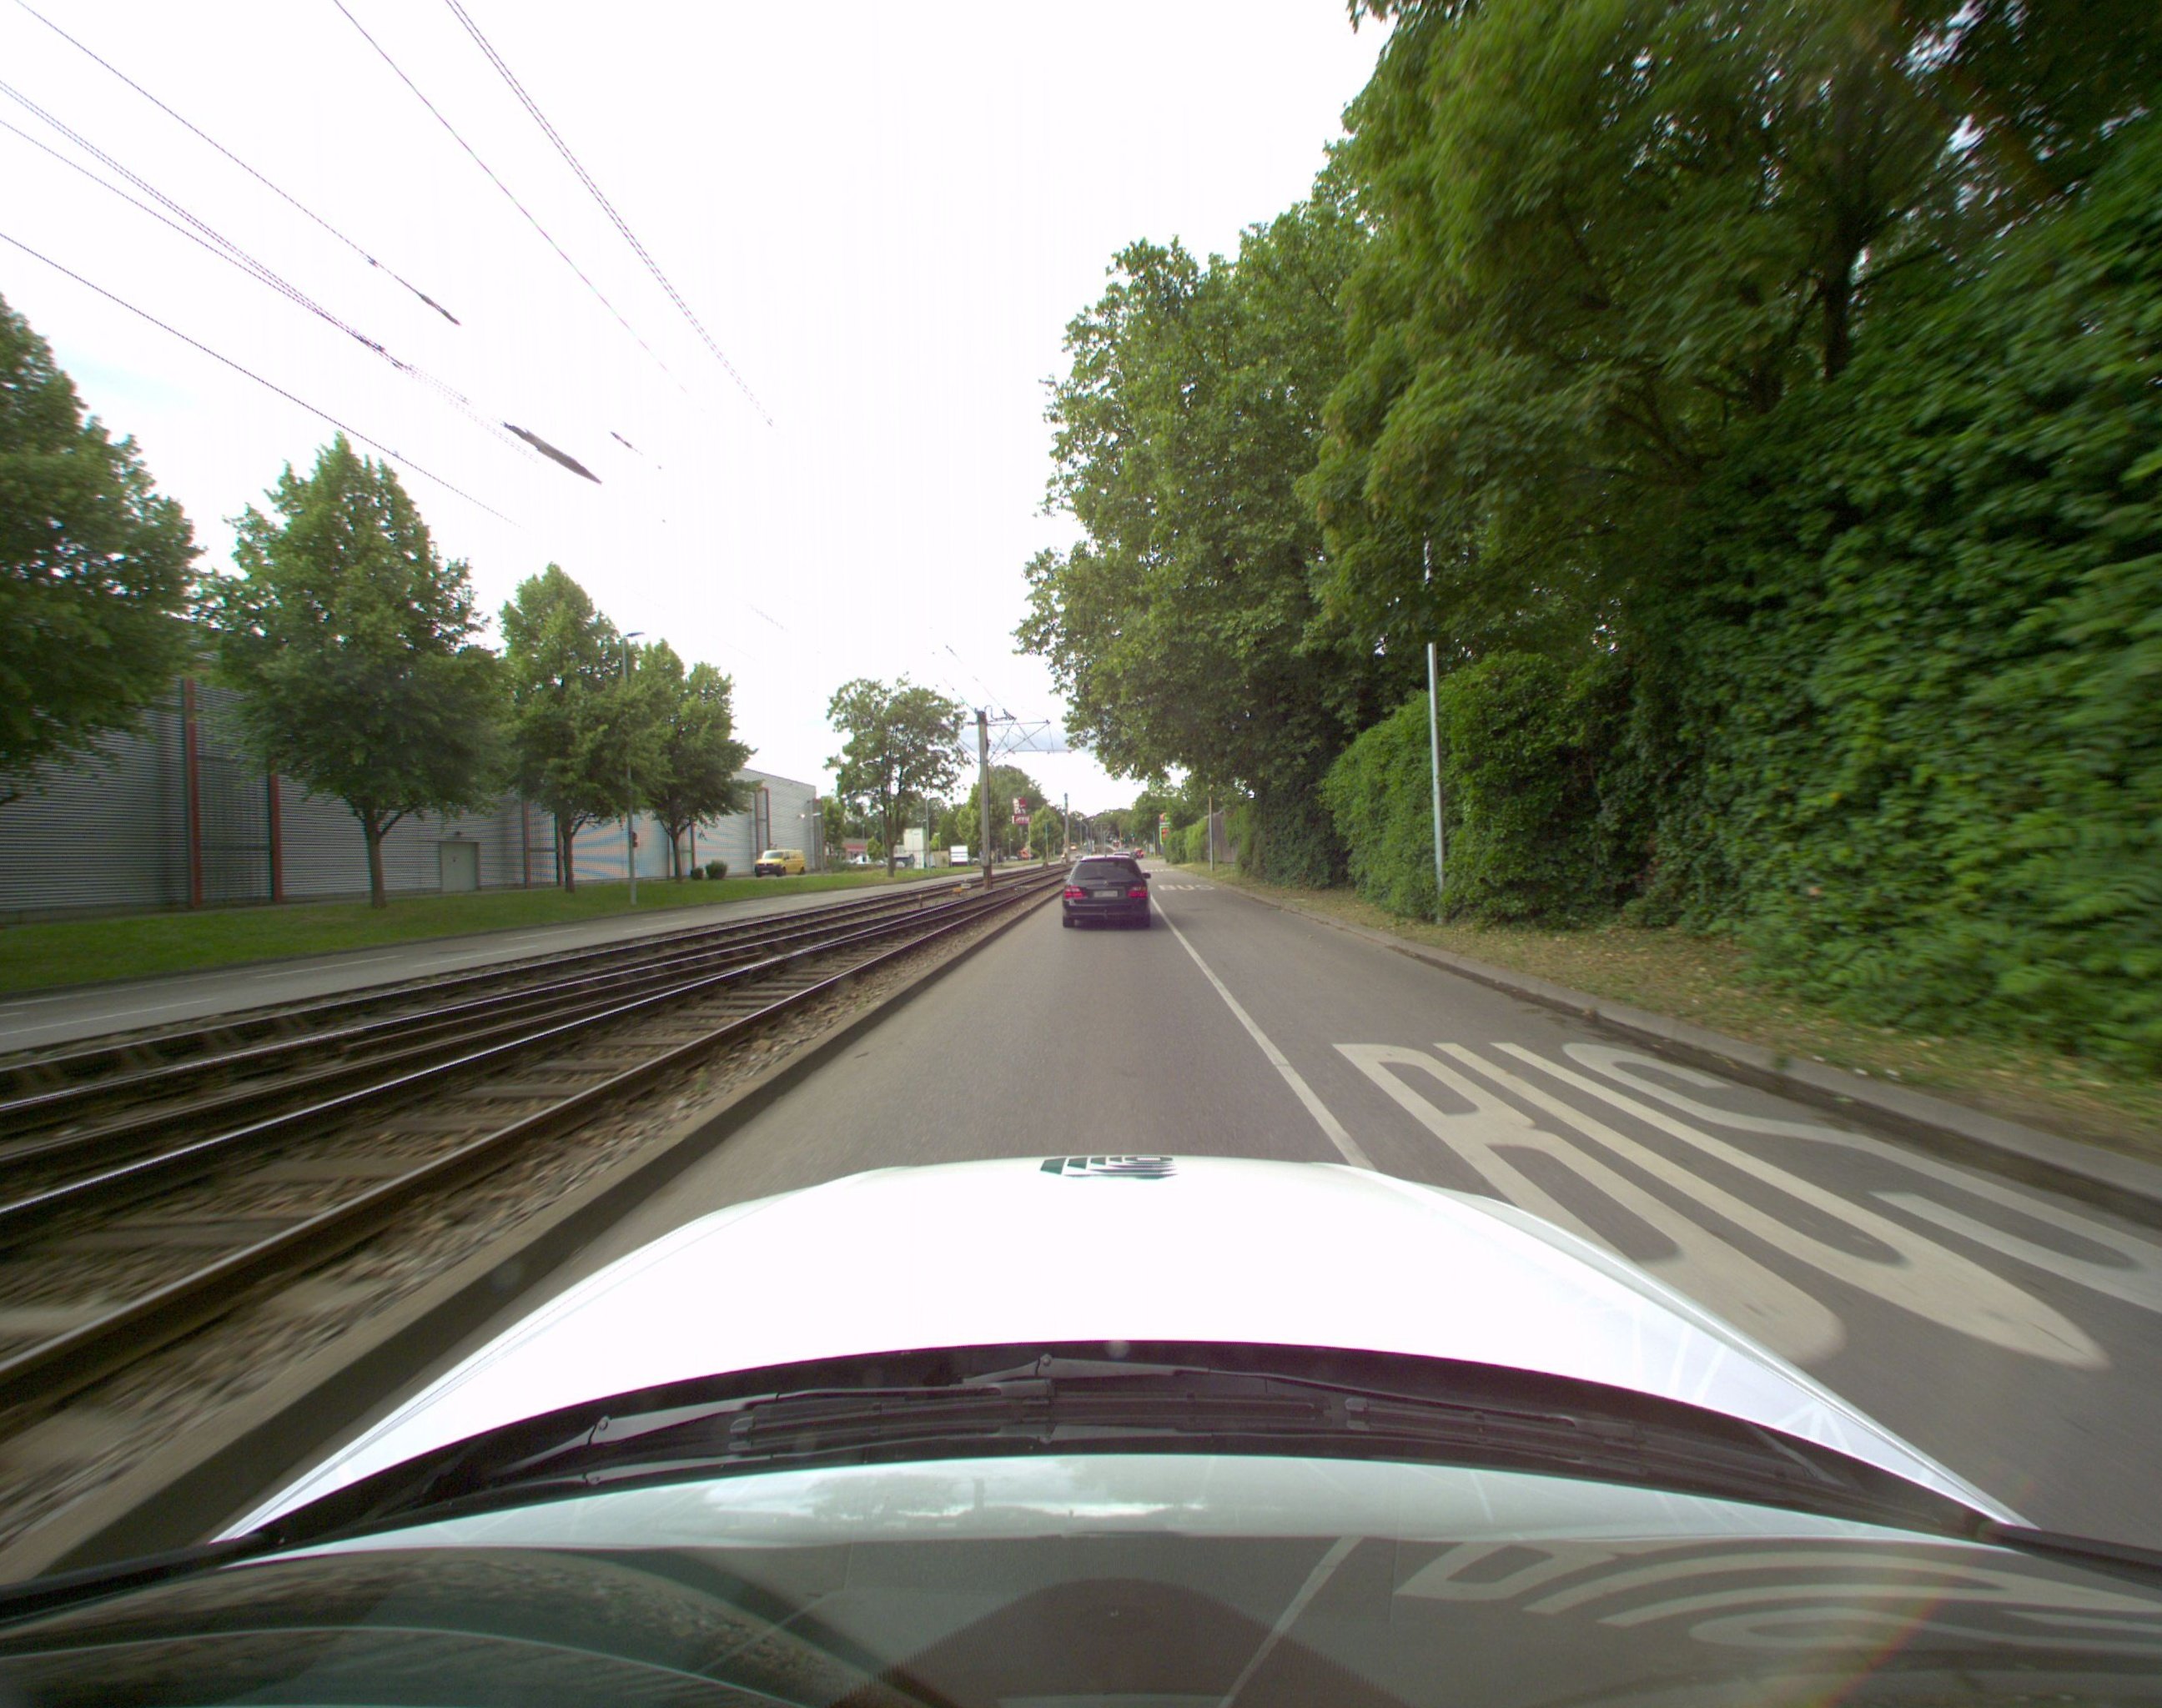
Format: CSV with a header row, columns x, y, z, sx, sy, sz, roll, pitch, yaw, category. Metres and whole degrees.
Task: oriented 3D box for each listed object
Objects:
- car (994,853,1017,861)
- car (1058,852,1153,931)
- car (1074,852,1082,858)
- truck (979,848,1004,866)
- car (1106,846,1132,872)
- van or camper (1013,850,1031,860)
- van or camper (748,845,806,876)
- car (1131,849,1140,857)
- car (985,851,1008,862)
x,y,z,sx,sy,sz,roll,pitch,yaw,category
-15.087,0.551,162.163,4.291,1.472,1.681,-2,0,0,car
0.573,0.710,17.475,1.801,1.474,3.884,-1,0,3,car
-0.790,0.293,221.864,1.752,1.401,4.446,-4,0,2,car
-15.291,0.508,139.418,3.973,2.821,2.376,-2,0,0,truck
2.725,0.345,57.371,1.773,1.750,3.721,0,0,3,car
-13.633,0.271,188.748,3.976,2.135,1.877,-1,0,-2,van or camper
-21.242,0.447,57.172,2.096,2.013,5.242,-1,0,0,van or camper
9.626,-0.102,143.013,1.564,1.414,3.357,0,0,3,car
-15.438,0.484,149.036,3.976,1.797,1.877,-2,0,-2,car
